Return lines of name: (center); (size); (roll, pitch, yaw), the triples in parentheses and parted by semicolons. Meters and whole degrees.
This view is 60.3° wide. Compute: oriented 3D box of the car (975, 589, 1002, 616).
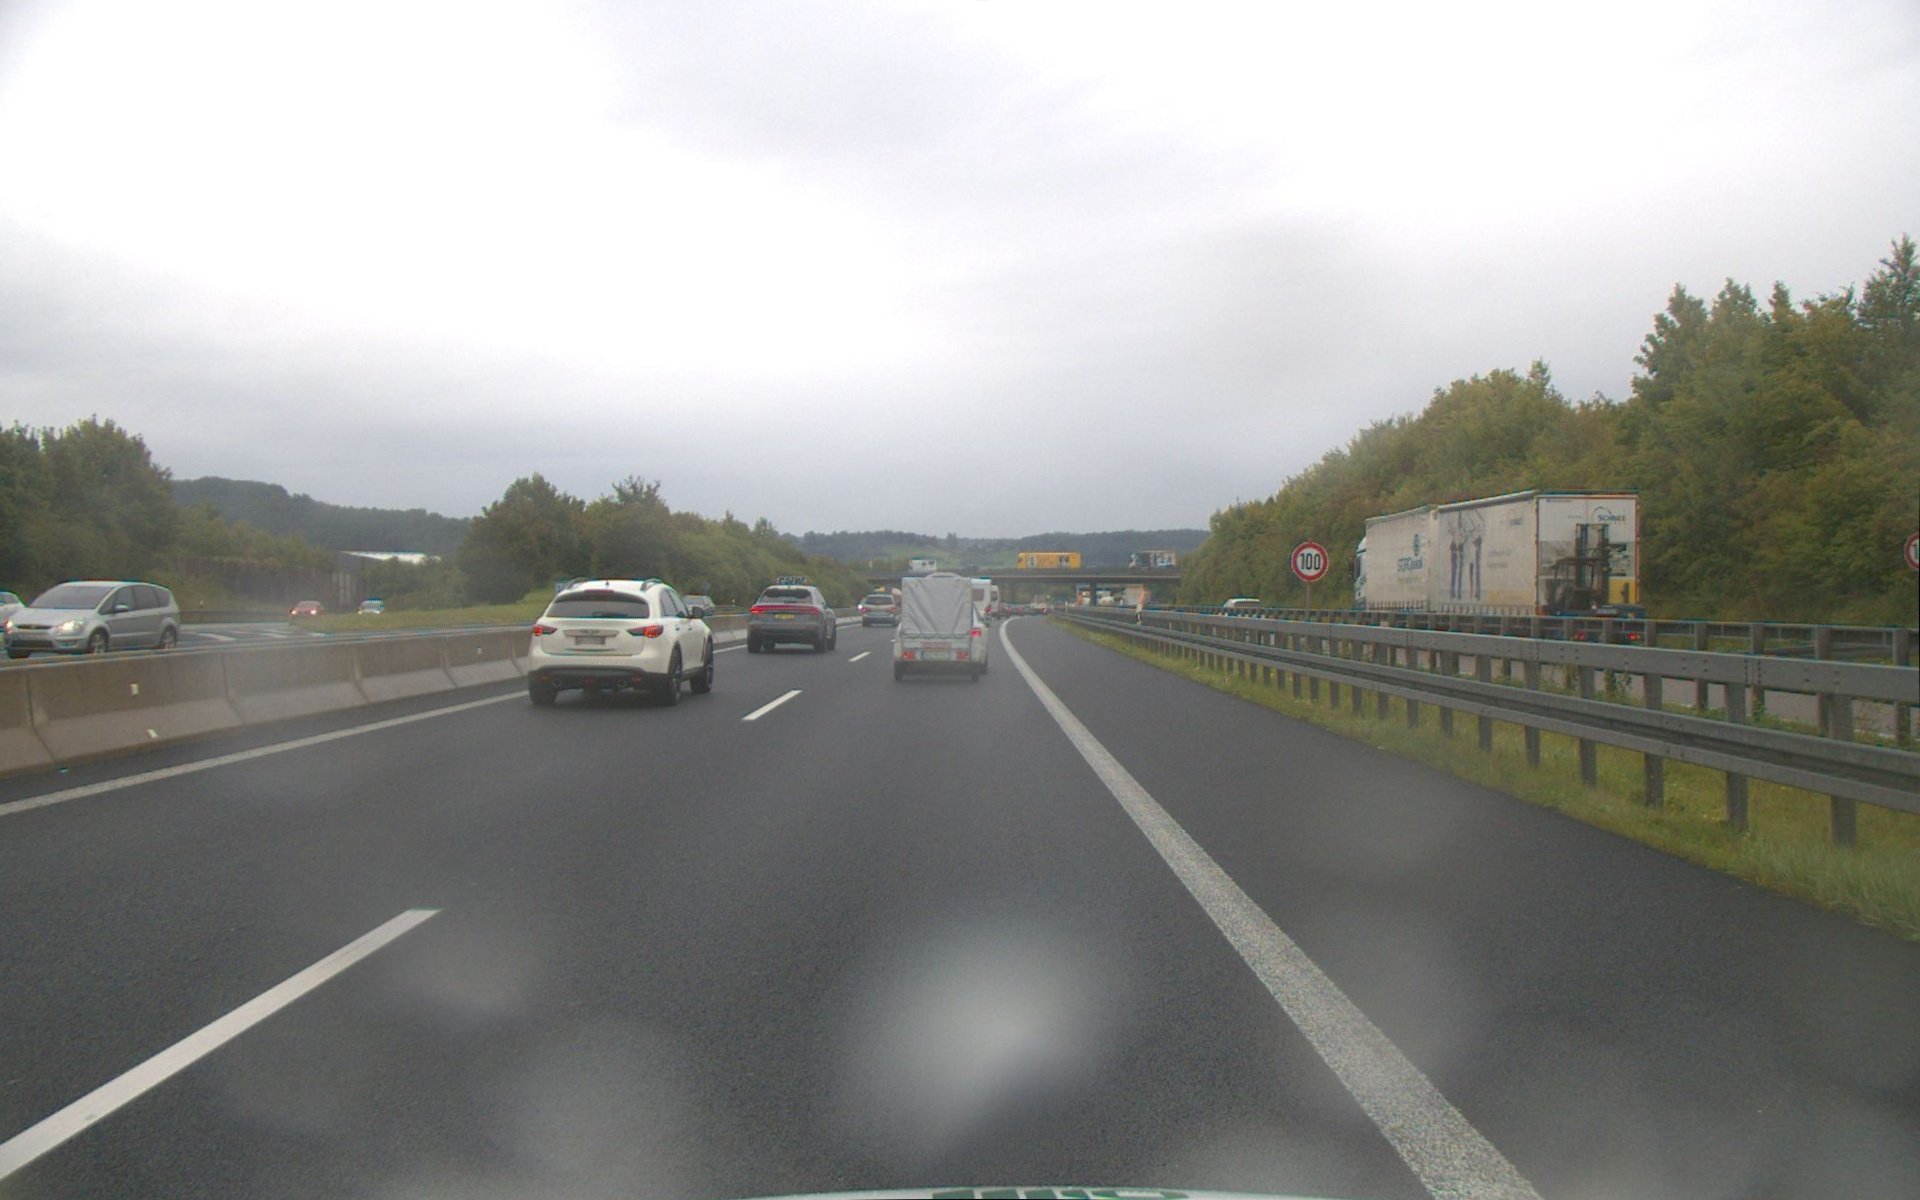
car: (2.265, 0.175, 132.268); (1.953, 2.071, 4.150); (1, 0, -2)

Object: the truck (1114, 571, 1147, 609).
truck: (24.393, -1.437, 236.963); (4.009, 5.193, 10.466); (0, 0, 2)

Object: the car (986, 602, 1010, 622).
car: (3.463, 1.113, 151.590); (1.953, 1.780, 3.999); (1, 0, -2)

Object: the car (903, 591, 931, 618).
car: (-2.933, 0.292, 113.112); (1.804, 1.851, 4.000); (0, 0, 0)

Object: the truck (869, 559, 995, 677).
truck: (-0.415, 0.288, 32.040); (1.977, 2.020, 7.215); (0, 0, 3)

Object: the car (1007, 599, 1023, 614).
car: (6.937, 0.815, 207.201); (1.952, 1.780, 4.001); (1, 0, 2)

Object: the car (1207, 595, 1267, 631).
car: (11.462, 0.521, 68.686); (1.822, 1.472, 4.157); (0, 0, 0)

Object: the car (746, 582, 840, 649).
car: (-4.355, 0.390, 43.777); (2.130, 1.660, 4.499); (0, 0, -2)

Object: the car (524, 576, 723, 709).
car: (-4.554, 0.533, 23.071); (1.936, 1.668, 4.499); (0, 0, -1)

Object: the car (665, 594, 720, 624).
car: (-15.914, 0.520, 98.666); (2.134, 1.725, 5.252); (0, 0, 3)

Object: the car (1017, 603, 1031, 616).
car: (9.125, 1.313, 236.520); (1.952, 1.780, 4.002); (1, 0, 3)

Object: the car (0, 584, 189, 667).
car: (-18.598, 0.492, 35.264); (2.135, 1.663, 4.538); (0, 0, 1)

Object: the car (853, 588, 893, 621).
car: (-4.395, 0.206, 84.137); (1.861, 1.641, 4.017); (0, 0, 0)

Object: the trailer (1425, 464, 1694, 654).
trailer: (15.283, -0.976, 43.328); (3.366, 4.364, 10.455); (0, 0, 1)

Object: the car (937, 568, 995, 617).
car: (0.406, -0.434, 92.180); (2.954, 2.662, 6.077); (0, 0, 3)

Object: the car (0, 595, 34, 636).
car: (-35.701, 0.564, 60.155); (2.140, 1.455, 4.379); (0, 0, -9)

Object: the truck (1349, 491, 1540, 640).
truck: (15.437, -1.042, 53.769); (3.366, 4.364, 10.420); (0, 0, 1)

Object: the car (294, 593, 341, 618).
car: (-44.670, 0.380, 115.073); (2.140, 1.725, 4.618); (0, 0, -9)
